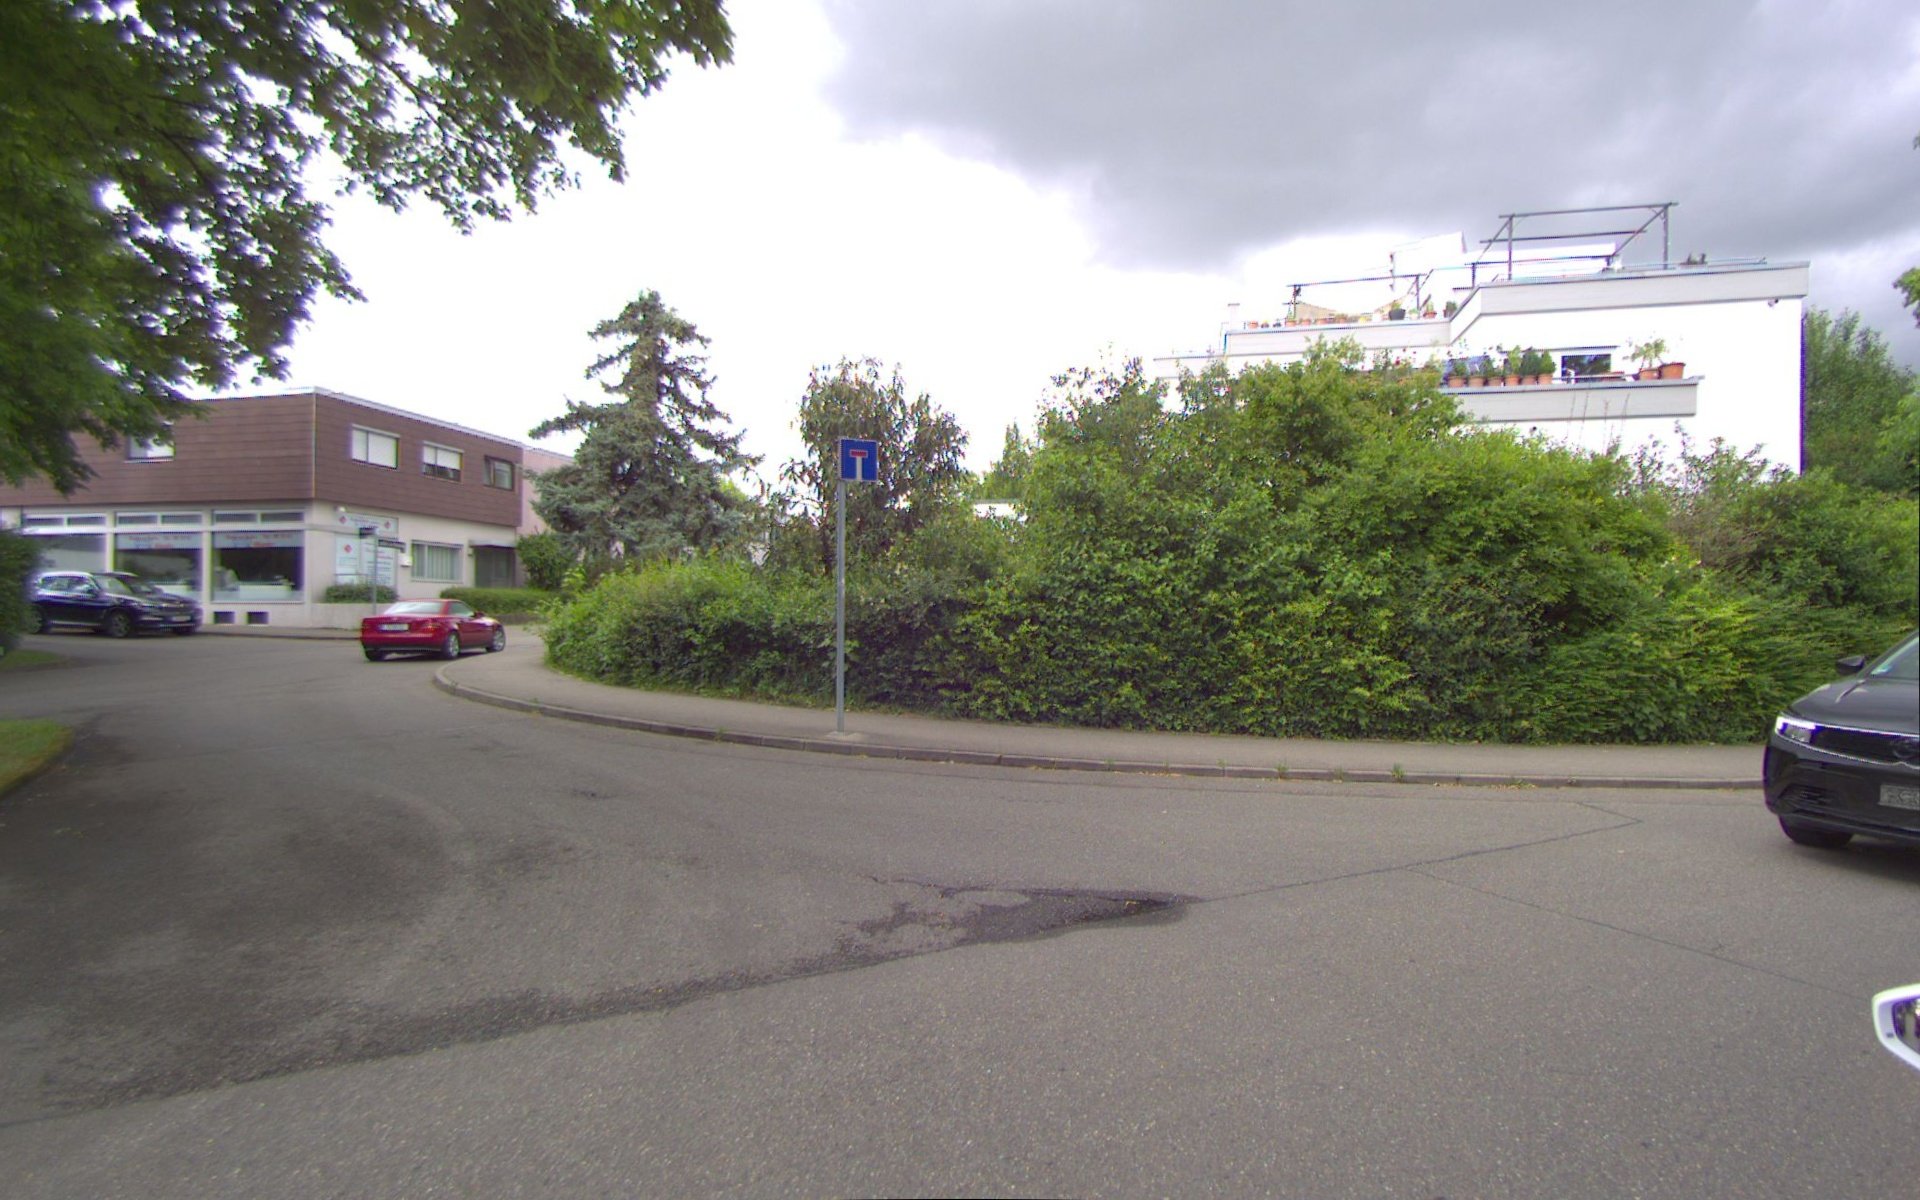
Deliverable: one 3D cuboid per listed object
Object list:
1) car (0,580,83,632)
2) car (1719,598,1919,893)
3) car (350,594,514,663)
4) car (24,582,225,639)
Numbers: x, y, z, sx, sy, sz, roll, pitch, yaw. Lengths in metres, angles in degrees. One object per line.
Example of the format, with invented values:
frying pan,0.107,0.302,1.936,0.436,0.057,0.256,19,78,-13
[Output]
car,-27.327,0.125,28.274,3.919,1.394,1.976,1,1,11
car,7.125,0.826,6.463,4.237,1.613,1.798,1,0,-25
car,-11.424,0.585,22.065,1.723,1.353,4.062,1,0,-5
car,-22.346,0.241,26.930,4.192,1.395,2.001,1,2,13
